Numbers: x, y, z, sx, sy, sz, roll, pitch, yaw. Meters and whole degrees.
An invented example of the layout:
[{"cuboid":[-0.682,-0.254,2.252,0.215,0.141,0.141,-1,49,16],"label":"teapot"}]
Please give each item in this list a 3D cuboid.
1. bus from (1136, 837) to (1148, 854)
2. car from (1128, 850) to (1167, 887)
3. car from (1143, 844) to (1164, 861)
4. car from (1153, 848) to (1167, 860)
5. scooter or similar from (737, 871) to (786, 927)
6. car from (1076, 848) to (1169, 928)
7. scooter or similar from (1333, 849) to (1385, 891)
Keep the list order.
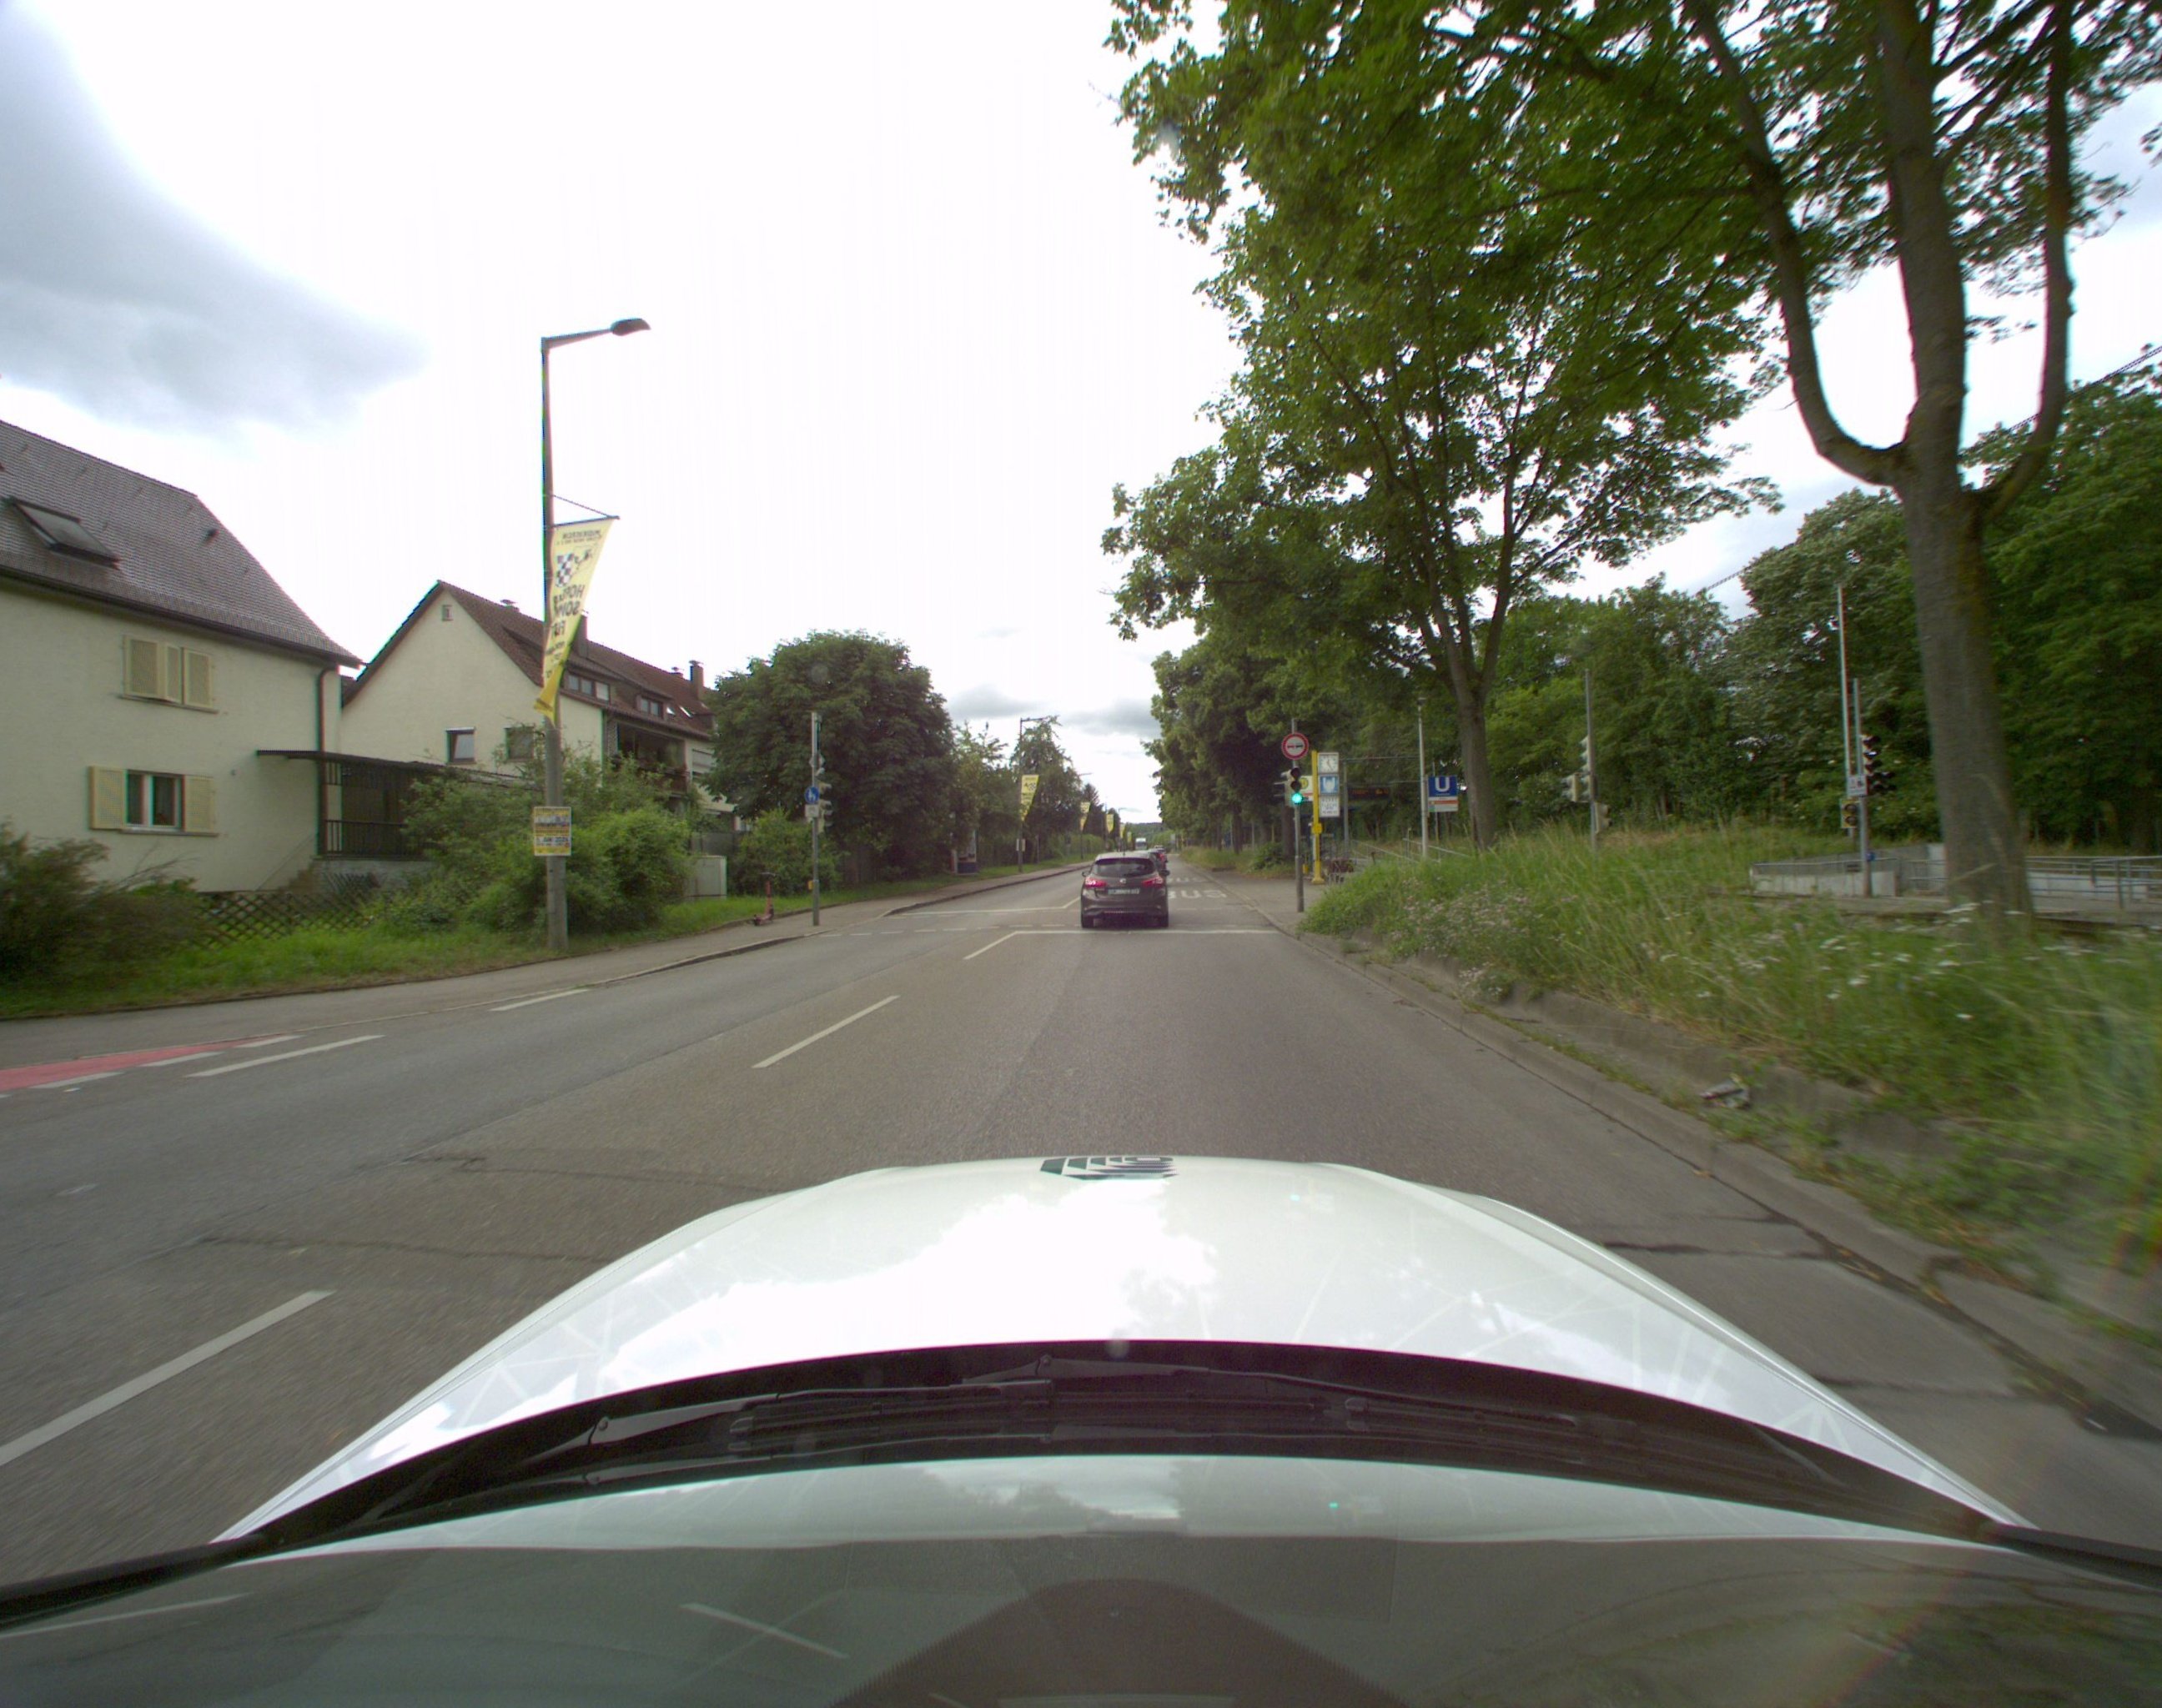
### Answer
[{"cuboid":[14.950,-2.007,198.069,2.475,4.025,10.233,-2,0,6],"label":"bus"},{"cuboid":[2.812,0.567,34.034,1.494,1.441,3.547,-1,0,5],"label":"car"},{"cuboid":[6.373,-0.106,71.440,1.683,1.441,3.547,-1,0,5],"label":"car"},{"cuboid":[9.866,-0.014,101.512,1.683,1.441,3.547,-1,0,5],"label":"car"},{"cuboid":[-7.785,1.074,19.874,0.460,1.259,1.429,-1,0,7],"label":"scooter or similar"},{"cuboid":[0.997,0.667,17.603,1.774,1.507,3.702,-2,-1,6],"label":"car"},{"cuboid":[8.420,0.484,24.648,1.456,1.243,0.482,-1,0,-16],"label":"scooter or similar"}]
